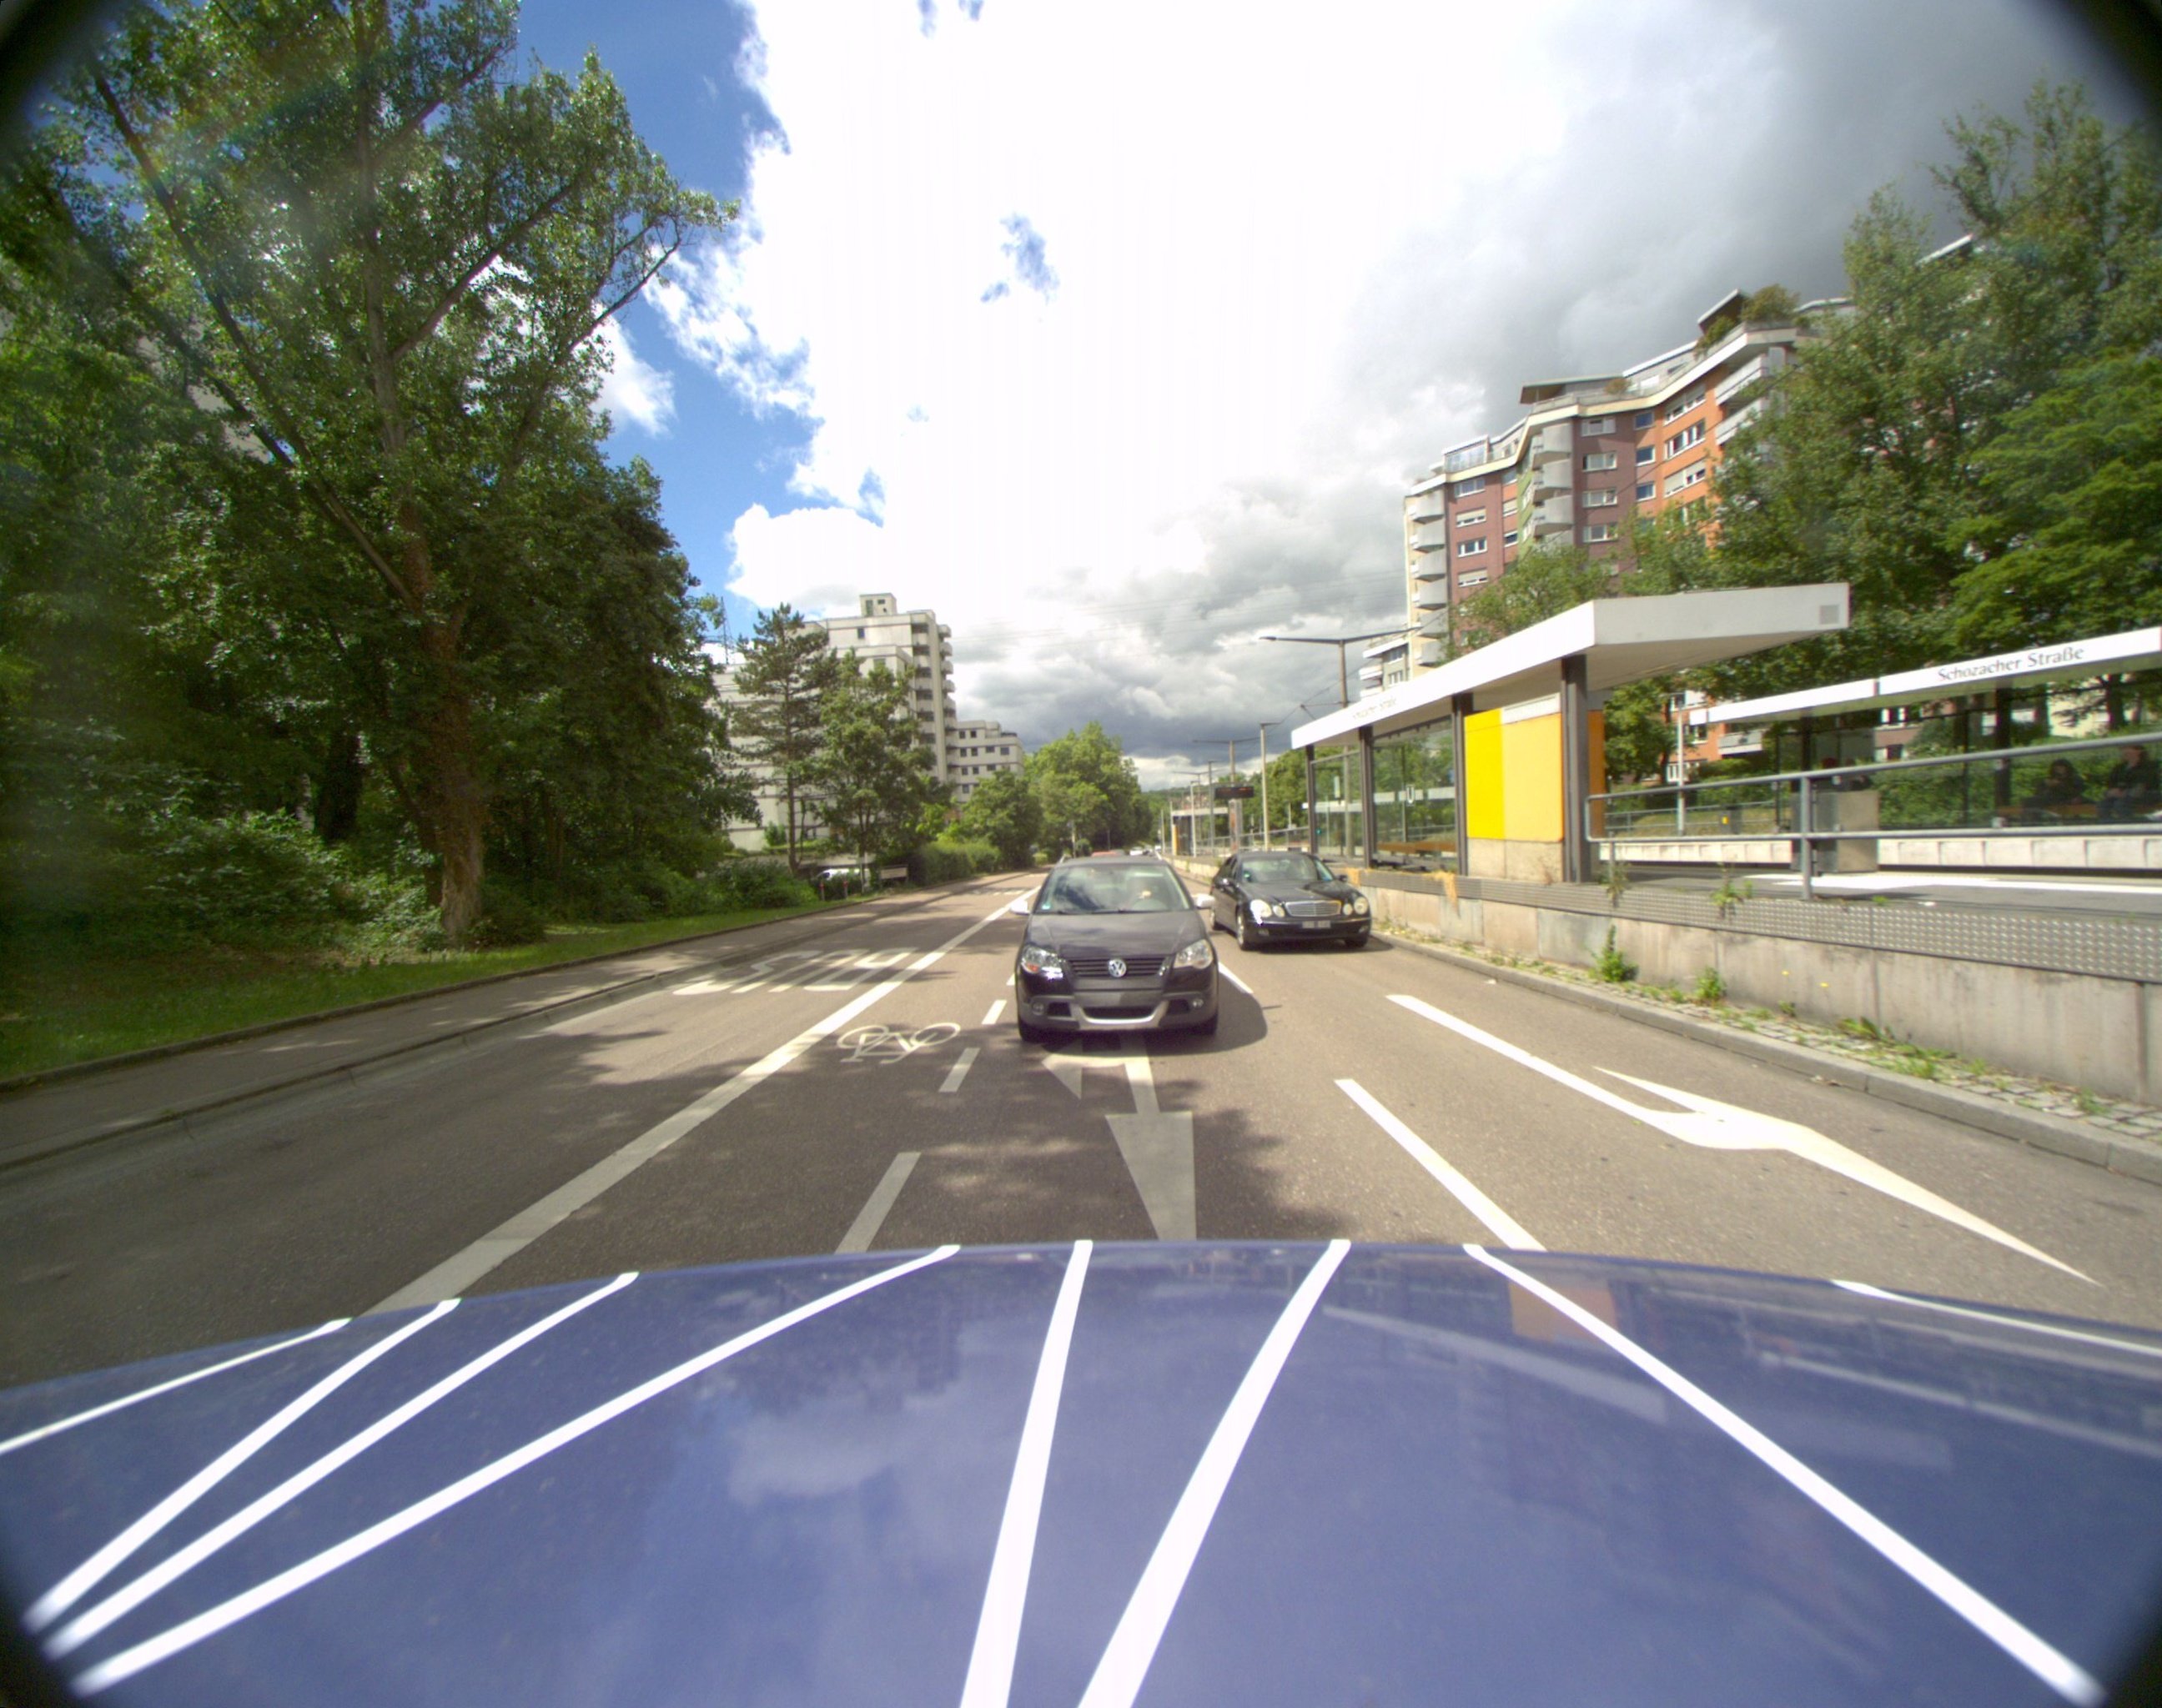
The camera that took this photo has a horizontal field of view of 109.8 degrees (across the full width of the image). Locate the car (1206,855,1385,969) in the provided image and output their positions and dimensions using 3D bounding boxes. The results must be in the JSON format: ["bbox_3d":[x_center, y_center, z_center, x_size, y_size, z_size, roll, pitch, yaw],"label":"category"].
[{"bbox_3d":[3.187,0.782,12.137,1.821,1.377,4.065,-2,1,2],"label":"car"}]

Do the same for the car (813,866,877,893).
[{"bbox_3d":[-19.396,2.082,62.606,4.543,2.002,2.001,-2,1,7],"label":"car"}]

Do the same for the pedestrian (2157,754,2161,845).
[{"bbox_3d":[15.497,-0.778,10.460,0.713,1.270,0.463,-2,1,0],"label":"pedestrian"}]

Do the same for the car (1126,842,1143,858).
[{"bbox_3d":[7.316,-0.566,102.997,1.997,2.002,4.001,-3,1,7],"label":"car"}]

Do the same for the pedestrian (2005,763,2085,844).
[{"bbox_3d":[15.663,-0.810,12.356,0.713,1.270,0.463,-2,1,0],"label":"pedestrian"}]

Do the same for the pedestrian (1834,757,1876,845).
[{"bbox_3d":[15.543,-1.051,15.255,0.387,1.703,0.550,-3,2,-41],"label":"pedestrian"}]

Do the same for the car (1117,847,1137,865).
[{"bbox_3d":[4.135,0.165,67.953,1.643,1.395,3.708,-2,1,5],"label":"car"}]

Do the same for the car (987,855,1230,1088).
[{"bbox_3d":[0.293,0.835,7.340,1.641,1.521,4.000,-2,1,3],"label":"car"}]

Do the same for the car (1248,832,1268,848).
[{"bbox_3d":[23.423,-1.875,100.653,1.737,2.002,4.000,-2,1,2],"label":"car"}]

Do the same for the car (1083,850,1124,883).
[{"bbox_3d":[1.115,0.571,36.786,1.821,1.377,4.065,-2,1,2],"label":"car"}]

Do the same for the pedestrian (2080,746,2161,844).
[{"bbox_3d":[15.512,-0.860,11.291,0.713,1.409,0.463,-2,1,0],"label":"pedestrian"}]

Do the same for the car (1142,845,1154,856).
[{"bbox_3d":[11.261,-0.540,127.665,1.801,1.698,4.000,-3,1,4],"label":"car"}]

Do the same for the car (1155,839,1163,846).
[{"bbox_3d":[18.614,-2.808,181.375,1.518,1.674,4.000,-2,1,4],"label":"car"}]

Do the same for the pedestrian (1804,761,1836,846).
[{"bbox_3d":[15.148,-1.026,15.577,0.354,1.703,0.426,-3,2,-41],"label":"pedestrian"}]
